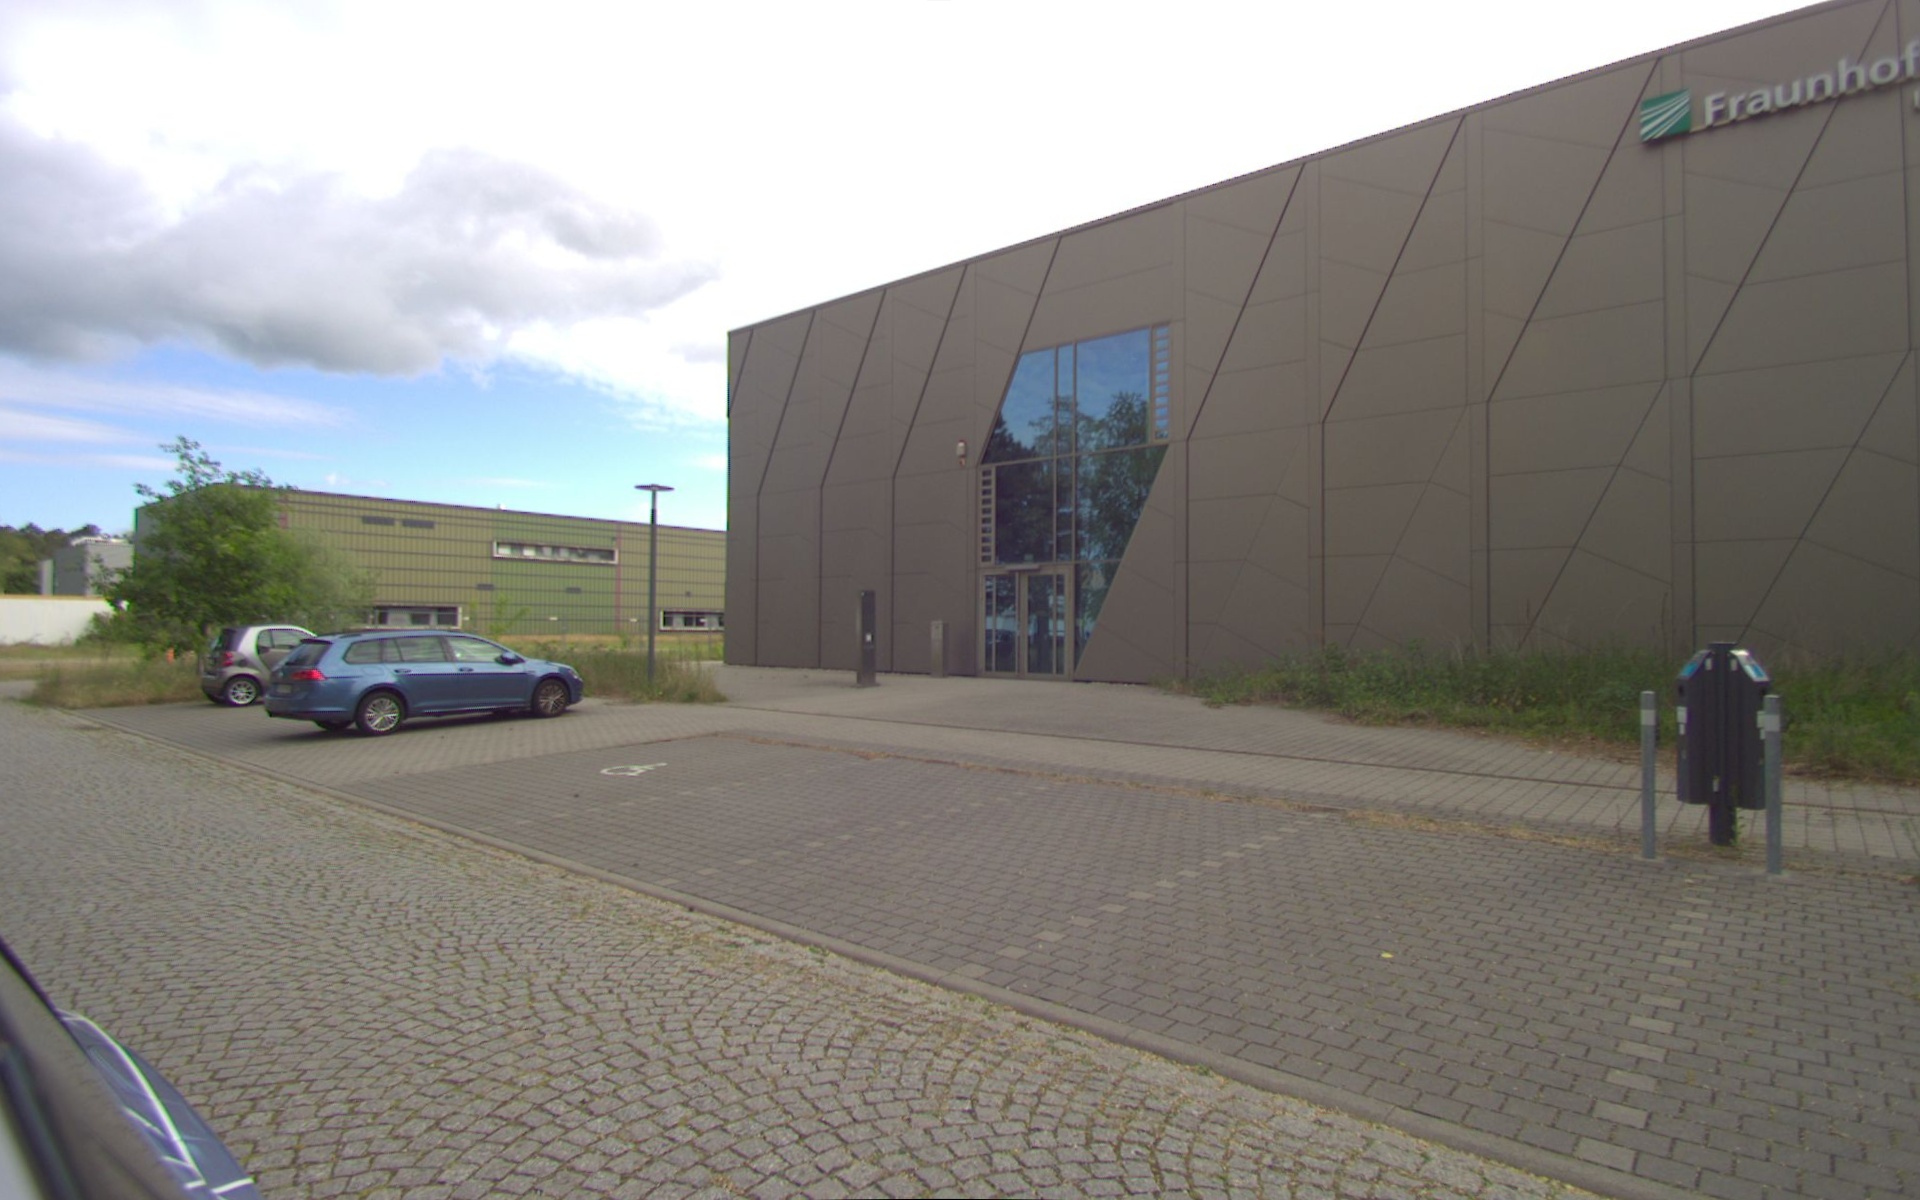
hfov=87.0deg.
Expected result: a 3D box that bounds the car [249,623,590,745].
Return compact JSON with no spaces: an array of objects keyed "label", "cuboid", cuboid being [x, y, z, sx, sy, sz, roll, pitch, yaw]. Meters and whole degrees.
[{"label":"car","cuboid":[-8.142,1.167,15.630,1.631,1.481,4.373,-1,0,38]}]

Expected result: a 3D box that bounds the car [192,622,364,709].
[{"label":"car","cuboid":[-13.727,1.257,20.431,1.498,1.541,2.553,-1,0,38]}]
